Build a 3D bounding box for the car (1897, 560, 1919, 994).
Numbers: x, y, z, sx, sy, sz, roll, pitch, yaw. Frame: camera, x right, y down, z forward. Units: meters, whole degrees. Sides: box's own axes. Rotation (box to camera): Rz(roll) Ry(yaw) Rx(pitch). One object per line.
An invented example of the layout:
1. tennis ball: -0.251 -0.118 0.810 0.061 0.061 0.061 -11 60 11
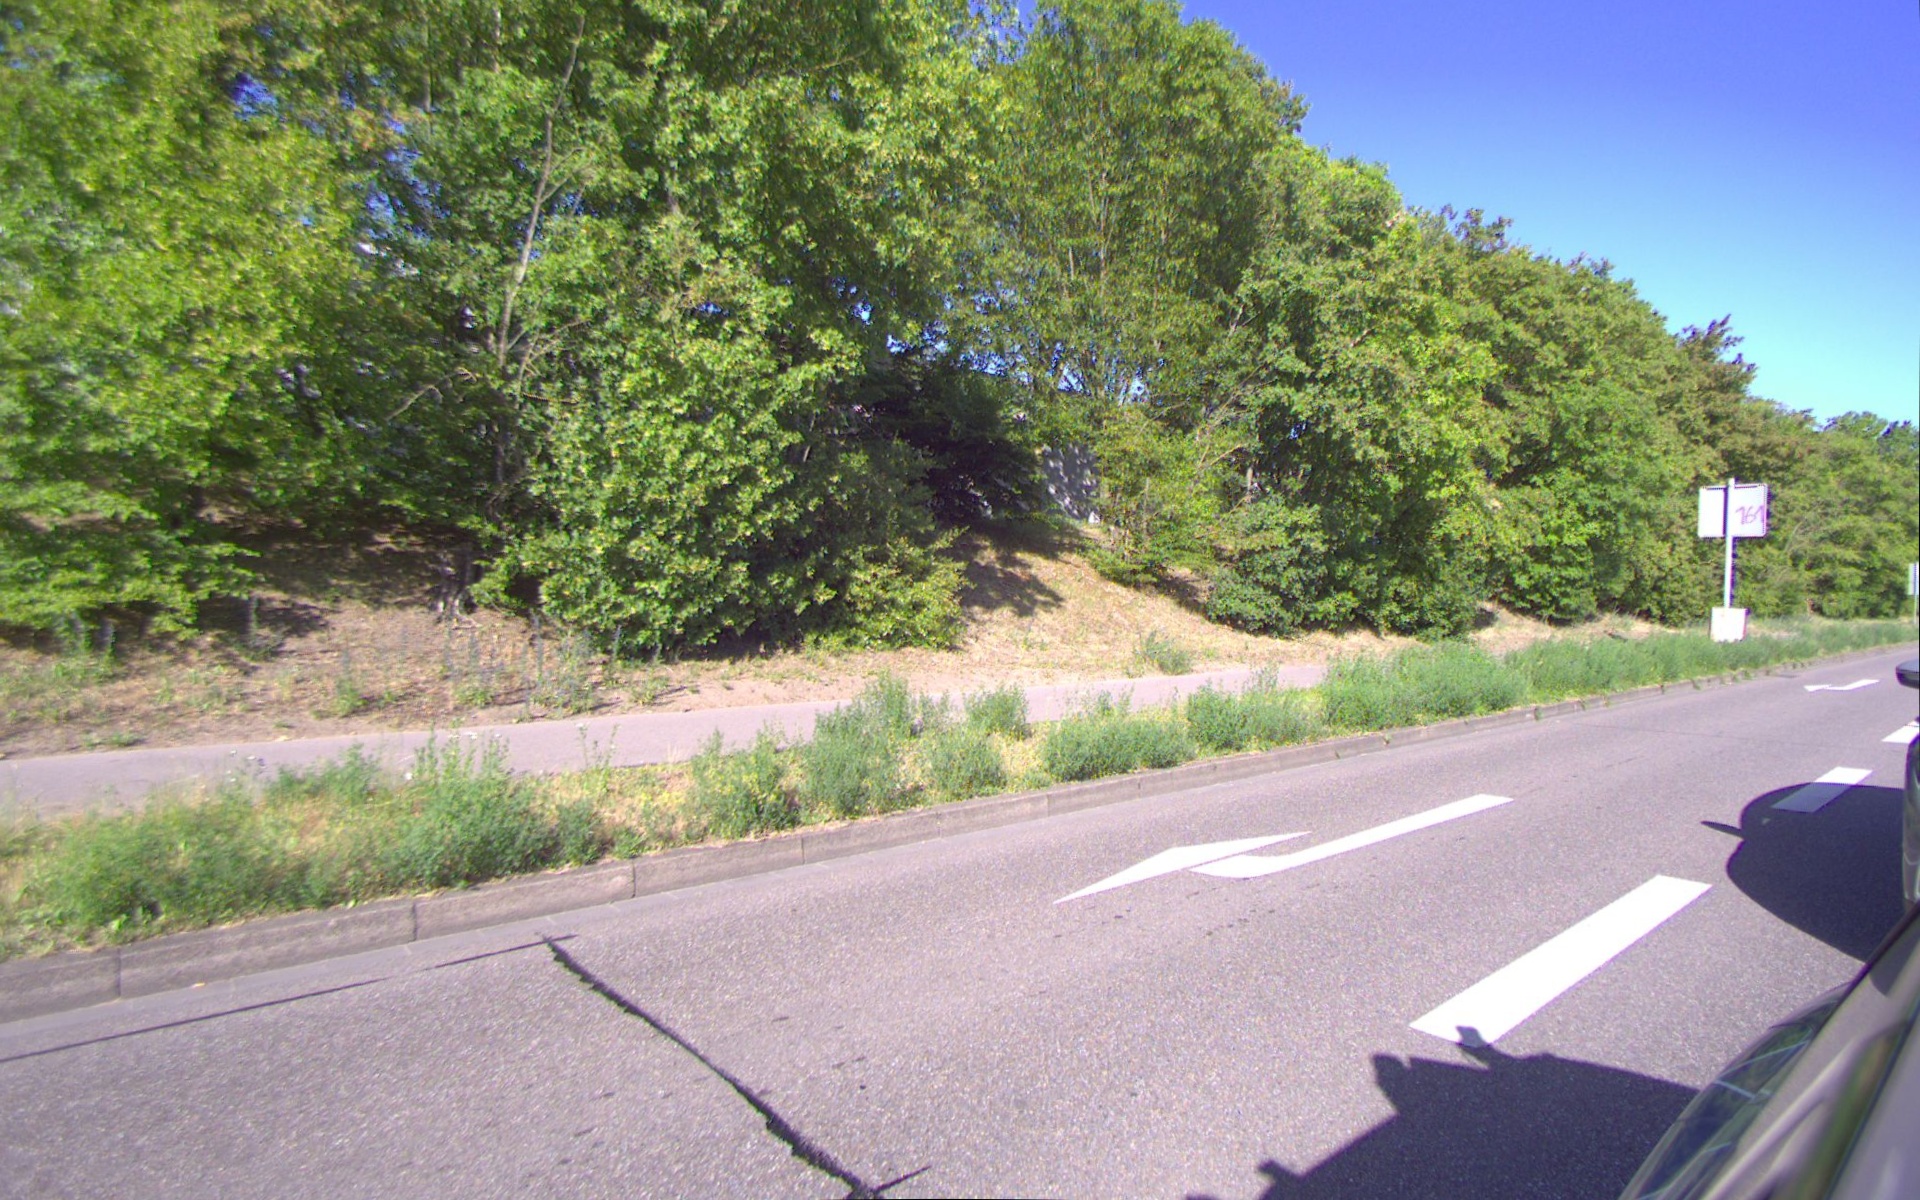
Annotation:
1. car: 5.723 0.655 4.529 4.327 1.603 1.860 0 0 -42
